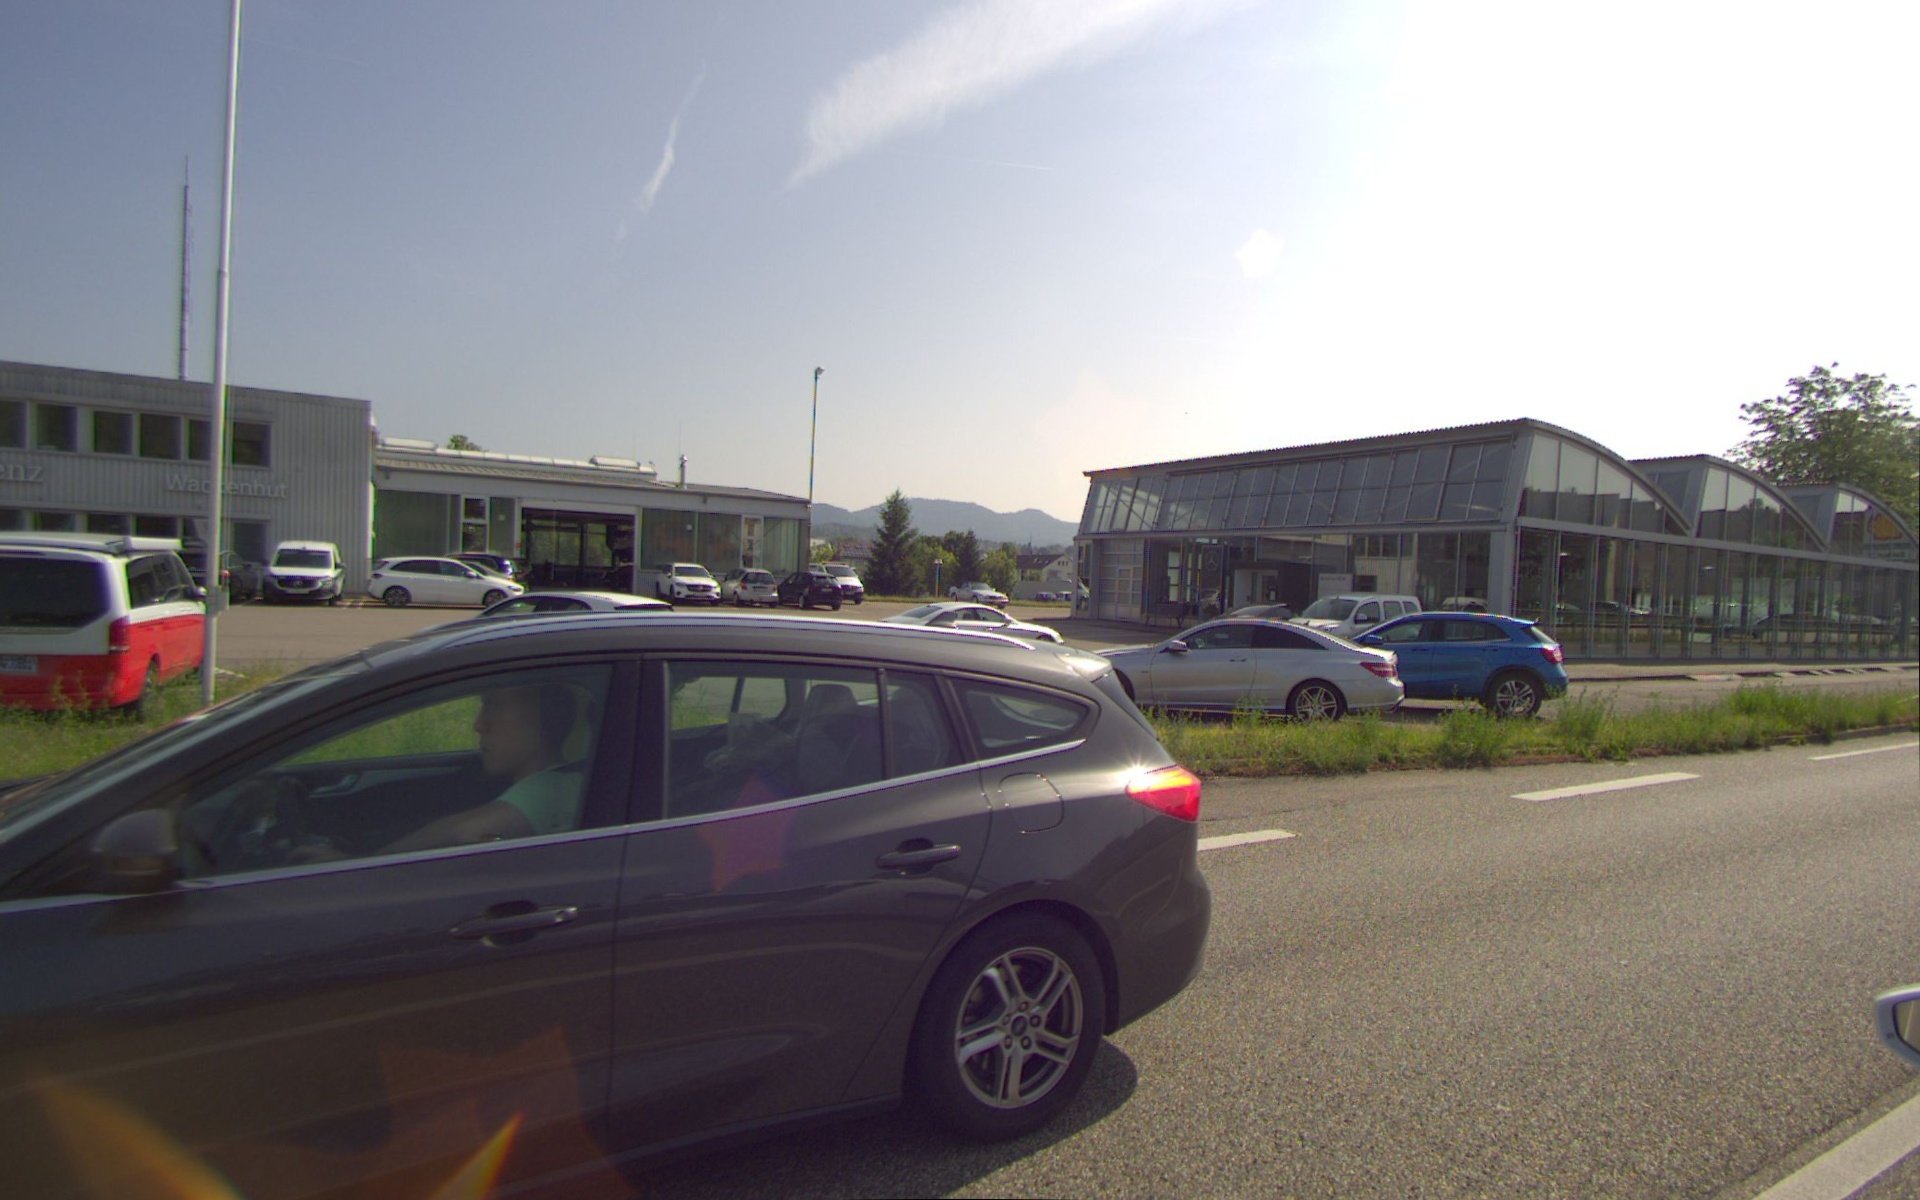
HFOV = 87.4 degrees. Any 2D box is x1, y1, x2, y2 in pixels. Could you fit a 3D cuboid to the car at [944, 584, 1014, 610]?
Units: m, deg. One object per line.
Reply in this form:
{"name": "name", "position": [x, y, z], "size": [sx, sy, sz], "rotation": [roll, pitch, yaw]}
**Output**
{"name": "car", "position": [0.985, -0.178, 55.154], "size": [1.883, 1.307, 4.800], "rotation": [1, 1, -25]}

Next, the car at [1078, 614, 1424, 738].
{"name": "car", "position": [3.972, 0.954, 13.936], "size": [4.308, 1.386, 1.853], "rotation": [1, 0, 20]}

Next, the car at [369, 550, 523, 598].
{"name": "car", "position": [-18.308, -0.899, 35.876], "size": [4.774, 1.587, 1.796], "rotation": [0, 1, -30]}

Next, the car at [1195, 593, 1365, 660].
{"name": "car", "position": [9.144, 0.703, 28.576], "size": [4.880, 1.736, 1.796], "rotation": [0, 1, -30]}

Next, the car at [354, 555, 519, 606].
{"name": "car", "position": [-17.387, -0.637, 33.480], "size": [4.774, 1.587, 1.796], "rotation": [0, 1, -30]}

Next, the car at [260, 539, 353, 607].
{"name": "car", "position": [-19.788, -0.811, 30.603], "size": [1.928, 1.879, 4.795], "rotation": [0, 1, -28]}

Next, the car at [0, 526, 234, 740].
{"name": "car", "position": [-10.122, 0.198, 11.664], "size": [2.202, 2.008, 4.768], "rotation": [1, 3, -30]}

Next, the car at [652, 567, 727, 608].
{"name": "car", "position": [-11.263, -0.549, 41.587], "size": [2.181, 1.587, 4.799], "rotation": [0, 1, -25]}

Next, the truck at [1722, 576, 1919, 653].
{"name": "truck", "position": [45.205, 0.714, 52.581], "size": [8.046, 3.604, 2.807], "rotation": [2, 1, 7]}

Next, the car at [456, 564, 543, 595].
{"name": "car", "position": [-25.074, -1.121, 54.640], "size": [4.495, 1.587, 2.206], "rotation": [2, 1, 31]}

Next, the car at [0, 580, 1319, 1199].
{"name": "car", "position": [-1.044, 0.743, 3.068], "size": [4.237, 1.494, 1.743], "rotation": [2, -1, -31]}

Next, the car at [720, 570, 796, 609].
{"name": "car", "position": [-8.833, -0.499, 43.608], "size": [2.181, 1.587, 4.799], "rotation": [0, 1, -25]}

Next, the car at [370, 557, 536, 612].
{"name": "car", "position": [-15.878, -0.471, 31.545], "size": [4.514, 1.512, 1.796], "rotation": [2, 0, -30]}

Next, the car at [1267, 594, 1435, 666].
{"name": "car", "position": [10.399, 0.742, 26.659], "size": [4.354, 1.736, 1.797], "rotation": [0, 1, -30]}

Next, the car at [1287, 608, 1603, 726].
{"name": "car", "position": [7.329, 0.942, 15.647], "size": [4.149, 1.527, 1.985], "rotation": [1, 0, 20]}

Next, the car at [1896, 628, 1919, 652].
{"name": "car", "position": [64.081, 2.709, 65.815], "size": [1.914, 1.519, 3.719], "rotation": [2, 1, -37]}

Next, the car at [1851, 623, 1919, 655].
{"name": "car", "position": [55.118, 2.318, 58.656], "size": [1.916, 1.677, 4.315], "rotation": [2, 1, -39]}

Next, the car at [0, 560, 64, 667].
{"name": "car", "position": [-14.639, 0.163, 14.261], "size": [1.943, 1.417, 4.443], "rotation": [2, 2, -30]}

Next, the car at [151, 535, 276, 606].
{"name": "car", "position": [-21.630, -0.854, 29.327], "size": [2.183, 1.879, 4.795], "rotation": [0, 1, -28]}

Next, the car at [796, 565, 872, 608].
{"name": "car", "position": [-6.422, -0.715, 50.851], "size": [2.184, 2.050, 4.793], "rotation": [0, 1, -29]}

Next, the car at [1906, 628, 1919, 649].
{"name": "car", "position": [68.583, 2.766, 69.947], "size": [1.844, 1.479, 3.720], "rotation": [2, 0, -37]}

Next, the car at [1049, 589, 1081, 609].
{"name": "car", "position": [9.134, -0.117, 87.740], "size": [1.699, 1.625, 3.993], "rotation": [3, -1, -10]}

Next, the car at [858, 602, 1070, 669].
{"name": "car", "position": [0.144, 0.785, 23.746], "size": [4.774, 1.405, 1.796], "rotation": [0, 1, -30]}

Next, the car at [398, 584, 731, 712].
{"name": "car", "position": [-5.578, 0.590, 14.222], "size": [4.147, 1.422, 1.897], "rotation": [3, 1, 20]}
